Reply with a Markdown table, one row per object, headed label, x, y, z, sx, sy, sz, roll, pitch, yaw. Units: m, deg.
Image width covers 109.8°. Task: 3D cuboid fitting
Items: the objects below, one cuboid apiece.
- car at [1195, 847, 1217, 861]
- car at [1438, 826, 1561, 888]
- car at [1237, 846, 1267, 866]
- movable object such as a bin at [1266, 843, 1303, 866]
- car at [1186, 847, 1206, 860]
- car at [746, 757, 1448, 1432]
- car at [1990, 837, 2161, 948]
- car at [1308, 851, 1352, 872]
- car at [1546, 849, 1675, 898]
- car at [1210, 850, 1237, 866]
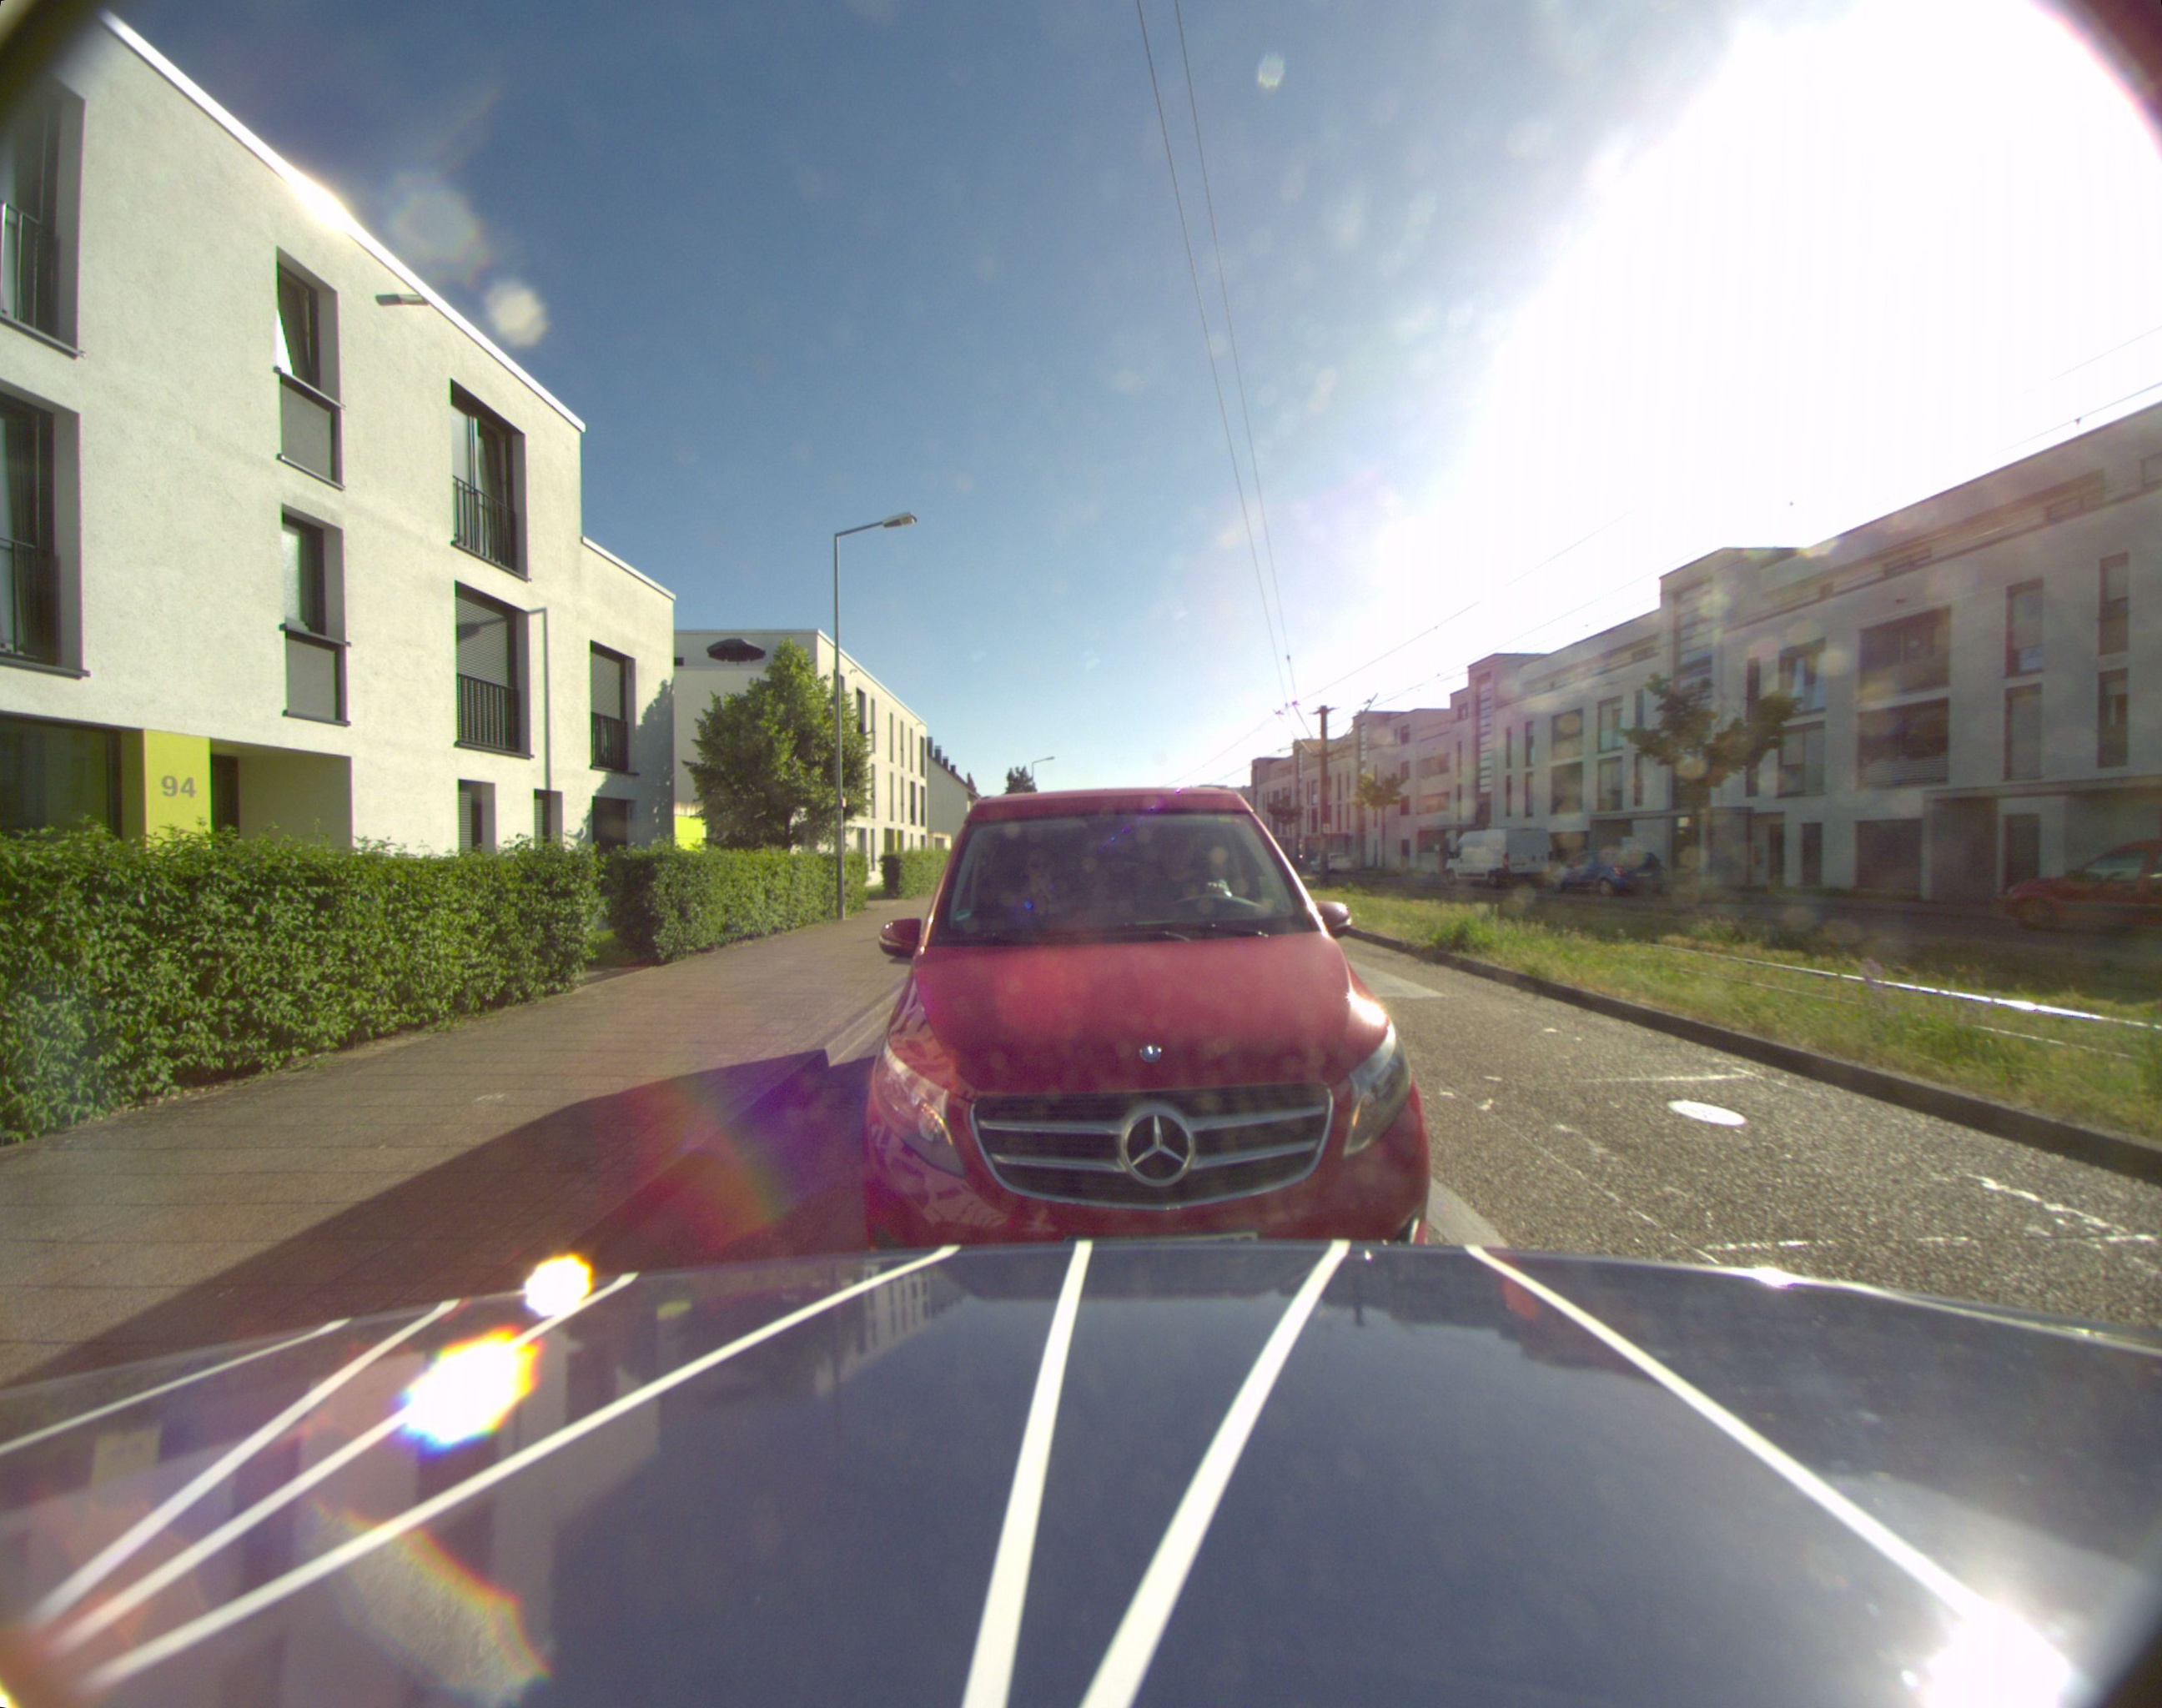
| label | x | y | z | sx | sy | sz | roll | pitch | yaw |
| --- | --- | --- | --- | --- | --- | --- | --- | --- | --- |
| car | 15.416 | -0.008 | 93.940 | 1.766 | 1.590 | 4.155 | -2 | 0 | -4 |
| car | 18.160 | 0.108 | 33.369 | 2.146 | 2.430 | 5.588 | -2 | 0 | -1 |
| car | 16.682 | 0.218 | 74.251 | 1.766 | 1.859 | 4.155 | -2 | 0 | -4 |
| movable object such as a bin | 17.635 | 0.046 | 66.023 | 1.766 | 1.926 | 4.155 | -2 | 0 | -4 |
| car | 15.027 | -0.025 | 99.574 | 1.766 | 1.590 | 4.155 | -2 | 0 | -4 |
| car | 0.106 | 0.706 | 4.827 | 1.979 | 1.922 | 5.205 | -2 | 0 | 1 |
| car | 18.573 | 0.613 | 12.826 | 1.885 | 1.785 | 3.837 | -2 | 0 | 1 |
| car | 17.575 | 0.498 | 53.797 | 1.521 | 1.424 | 4.155 | -2 | 0 | -4 |
| car | 18.280 | 0.621 | 26.475 | 1.829 | 1.528 | 3.842 | -2 | 0 | 0 |
| car | 13.378 | 0.377 | 71.547 | 1.792 | 1.410 | 4.000 | 1 | 0 | 1 |
